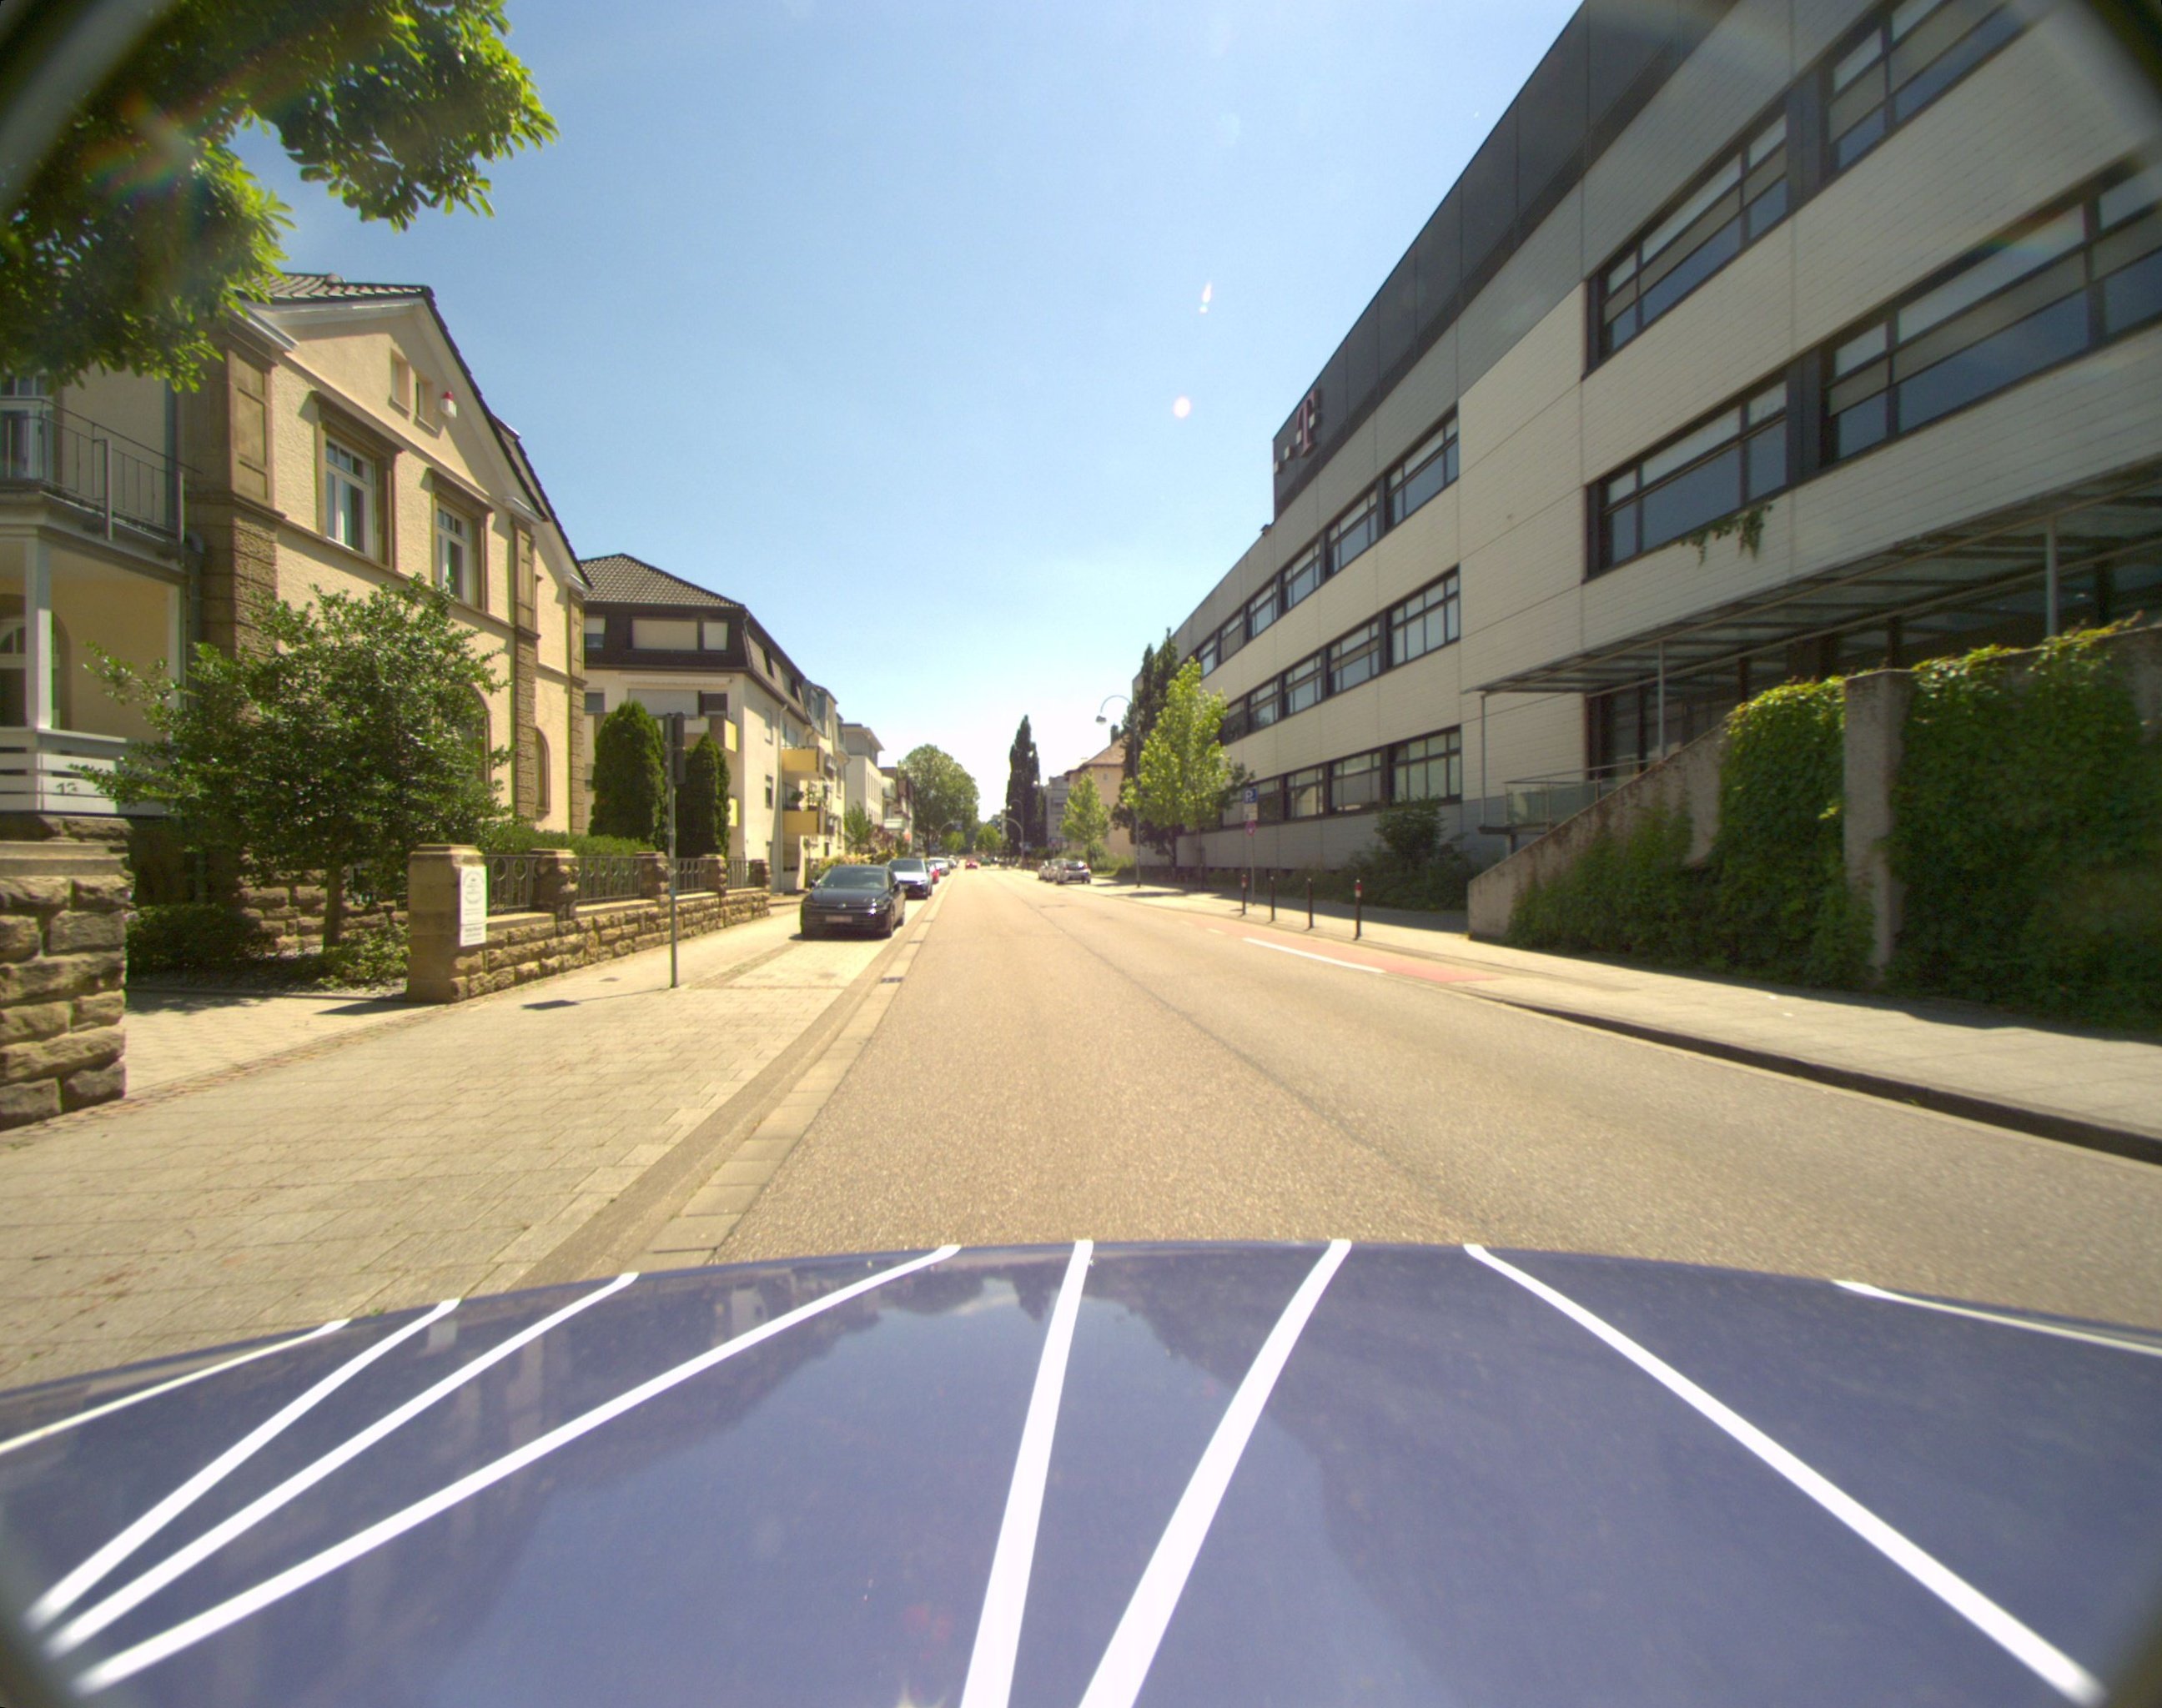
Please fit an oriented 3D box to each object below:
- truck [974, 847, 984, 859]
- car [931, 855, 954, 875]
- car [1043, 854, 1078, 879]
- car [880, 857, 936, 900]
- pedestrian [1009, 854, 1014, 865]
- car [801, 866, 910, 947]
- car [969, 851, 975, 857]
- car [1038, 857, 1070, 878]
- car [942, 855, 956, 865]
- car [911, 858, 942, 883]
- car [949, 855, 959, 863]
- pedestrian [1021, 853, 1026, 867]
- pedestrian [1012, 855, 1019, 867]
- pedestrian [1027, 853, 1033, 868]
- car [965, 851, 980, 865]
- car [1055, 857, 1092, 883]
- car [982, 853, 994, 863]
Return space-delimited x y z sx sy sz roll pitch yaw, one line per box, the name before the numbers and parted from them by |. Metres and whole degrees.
truck | -26.737 -0.313 200.190 2.427 2.966 6.254 -1 0 -6
car | -12.501 0.994 68.796 1.710 1.656 4.576 -4 1 -8
car | -1.473 0.830 51.927 1.828 1.503 4.286 -4 1 -8
car | -6.969 0.948 30.985 1.849 1.610 4.424 1 0 -8
pedestrian | -10.950 0.895 119.062 0.623 1.667 0.903 -3 1 -9
car | -4.780 1.039 16.642 1.637 1.438 4.394 2 0 -8
car | -33.488 -0.060 232.898 1.733 1.500 4.288 -2 2 -10
car | -2.050 0.976 56.906 1.828 1.403 4.573 -3 0 -8
car | -18.829 0.858 108.647 1.833 1.418 4.696 0 0 -8
car | -9.721 1.022 48.062 1.608 1.432 3.850 2 0 -7
car | -20.073 0.768 120.459 1.563 1.332 4.170 1 0 -9
pedestrian | -7.417 0.776 98.126 0.538 1.675 0.708 -1 1 -9
pedestrian | -9.597 1.016 111.320 0.848 1.635 0.750 -3 2 -7
pedestrian | -5.892 0.725 87.947 0.538 1.675 0.708 -1 1 -9
car | -15.322 0.572 106.924 2.002 1.880 4.290 -2 1 -9
car | -0.483 0.962 46.180 1.753 1.401 3.930 -3 0 -7
car | -16.701 0.680 136.322 1.827 1.580 4.097 -4 2 -5
